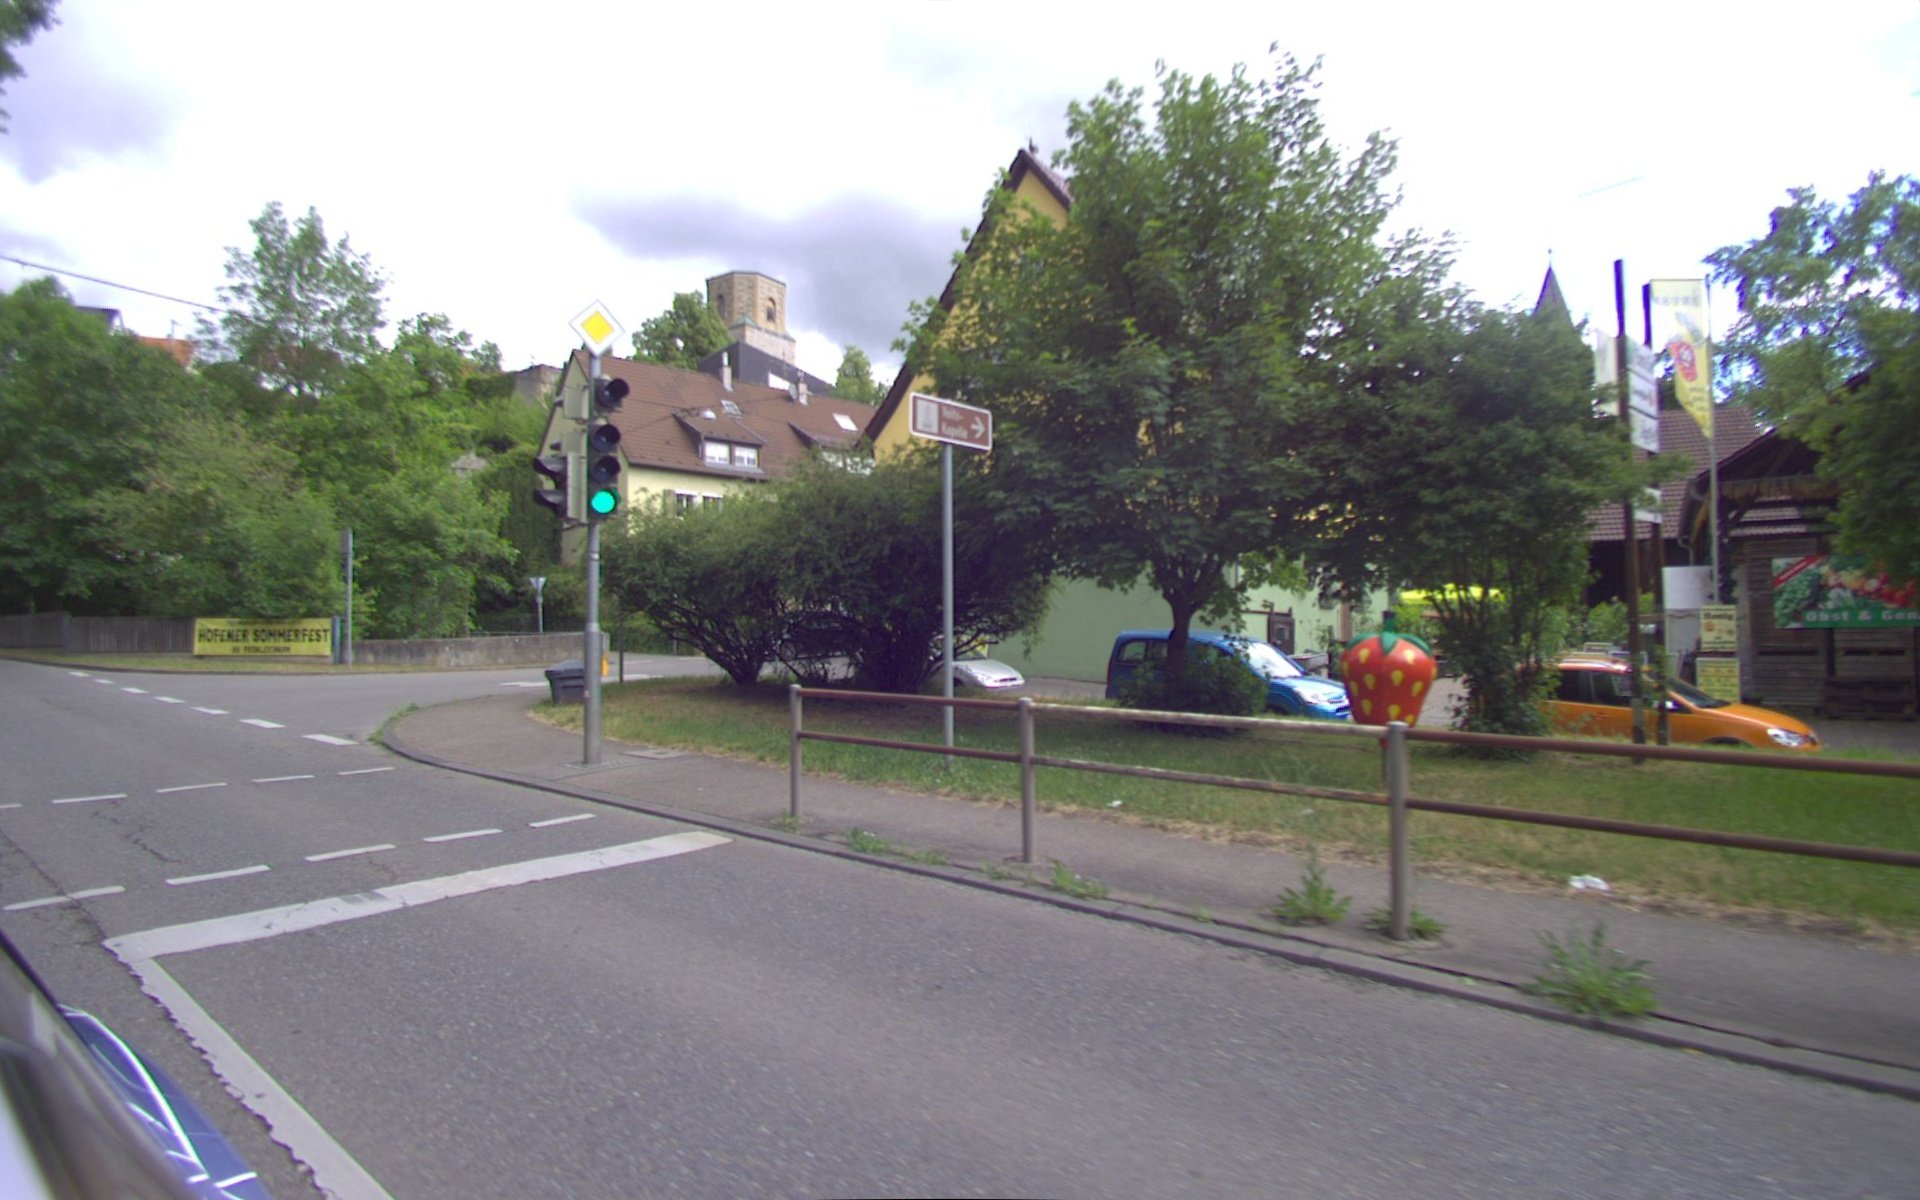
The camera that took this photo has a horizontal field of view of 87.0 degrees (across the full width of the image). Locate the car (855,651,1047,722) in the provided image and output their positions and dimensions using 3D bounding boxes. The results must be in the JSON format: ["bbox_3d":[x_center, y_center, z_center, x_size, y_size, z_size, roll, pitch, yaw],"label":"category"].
[{"bbox_3d":[-0.264,1.807,21.955,4.149,1.355,1.628,-2,-4,41],"label":"car"}]

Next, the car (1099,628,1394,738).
[{"bbox_3d":[4.765,1.324,17.263,4.448,1.630,1.971,-2,-4,43],"label":"car"}]

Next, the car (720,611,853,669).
[{"bbox_3d":[-5.675,1.265,33.375,1.945,1.608,3.946,-2,1,41],"label":"car"}]

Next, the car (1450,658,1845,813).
[{"bbox_3d":[8.852,1.620,13.246,4.001,1.630,1.926,-2,-4,44],"label":"car"}]
